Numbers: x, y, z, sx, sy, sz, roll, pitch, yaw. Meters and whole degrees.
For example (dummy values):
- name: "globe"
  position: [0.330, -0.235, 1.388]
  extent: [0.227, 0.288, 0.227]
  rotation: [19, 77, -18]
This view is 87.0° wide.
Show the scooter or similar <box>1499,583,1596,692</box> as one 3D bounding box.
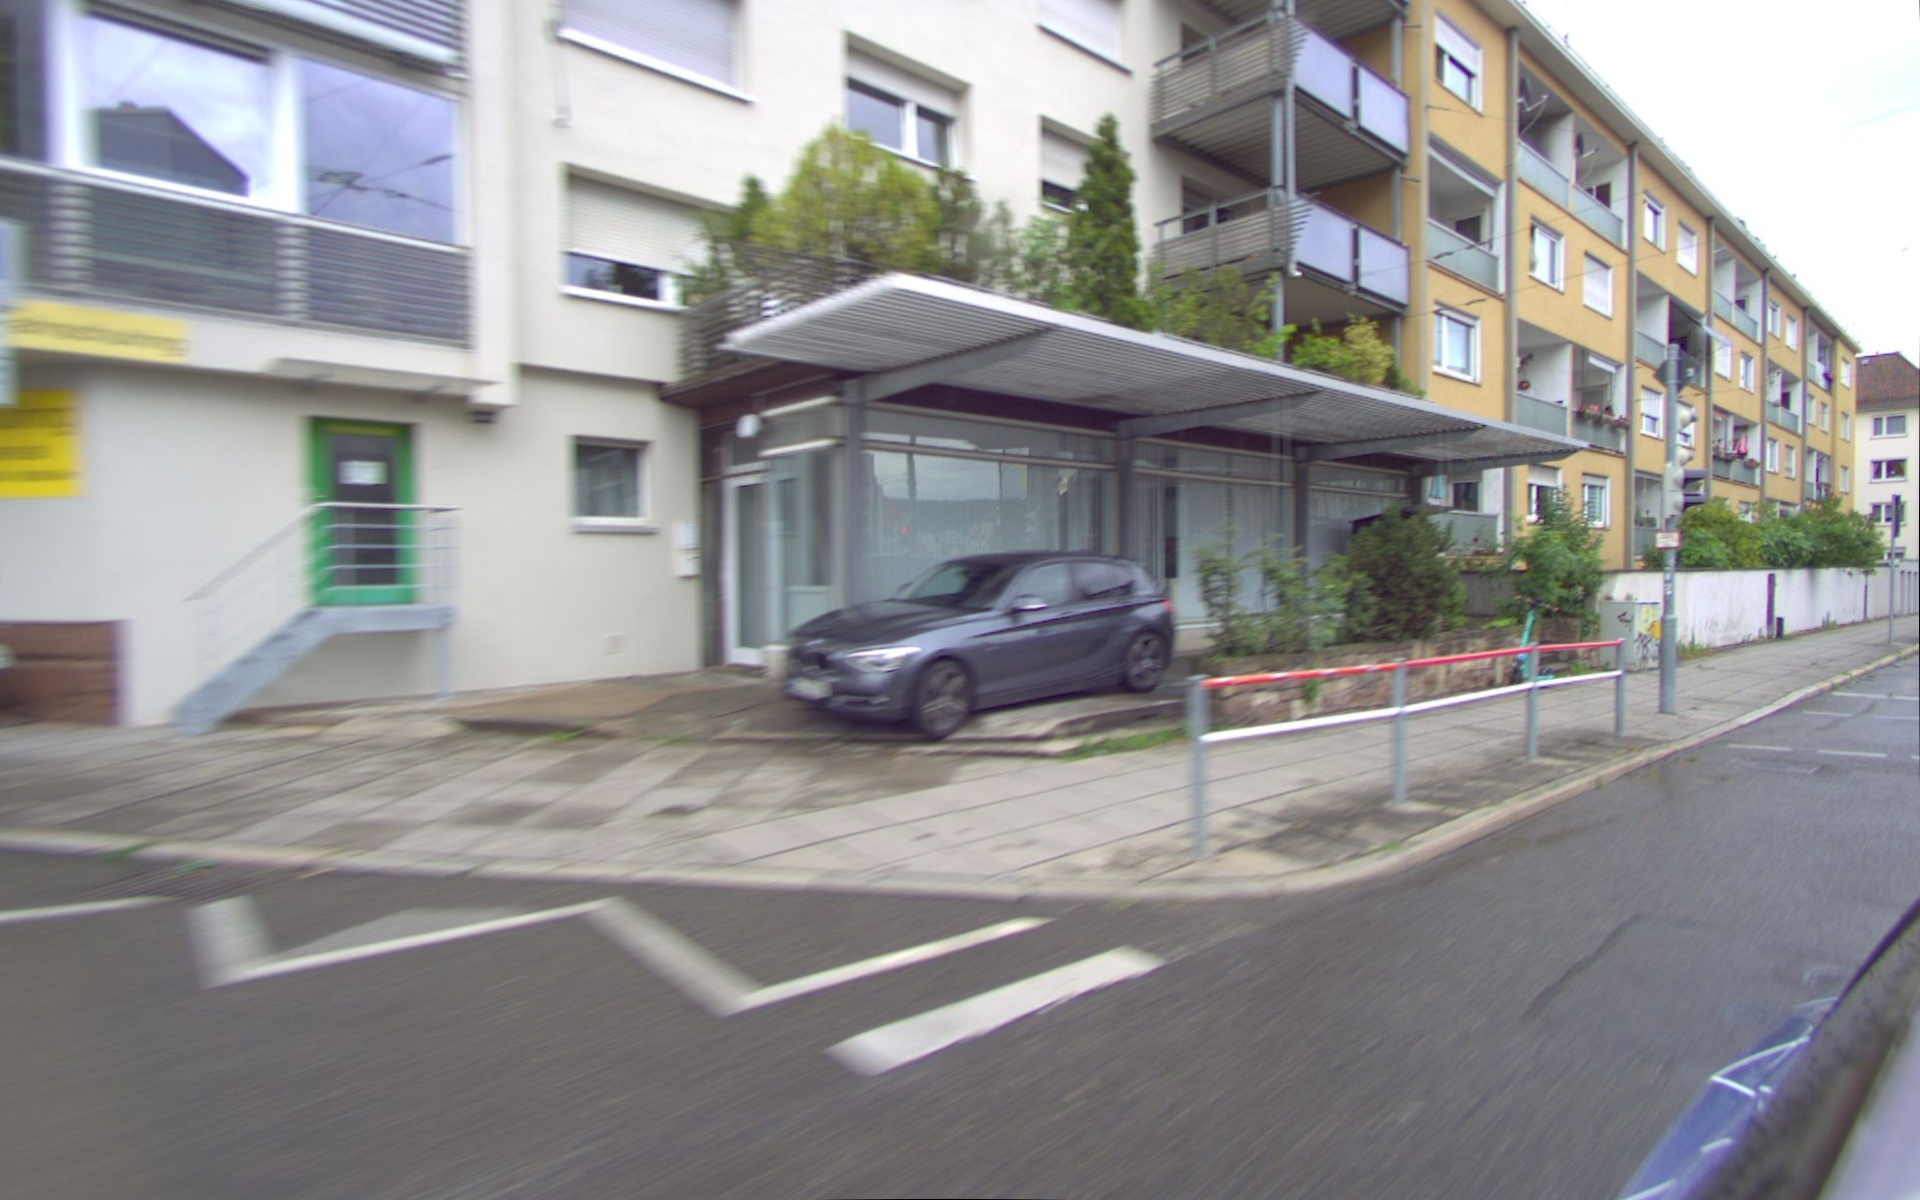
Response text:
- name: "scooter or similar"
  position: [7.964, 0.468, 13.695]
  extent: [1.630, 1.342, 0.536]
  rotation: [-2, 6, -41]

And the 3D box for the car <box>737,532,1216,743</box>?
- name: "car"
  position: [0.321, 0.220, 9.555]
  extent: [4.371, 1.521, 1.857]
  rotation: [0, 4, -41]

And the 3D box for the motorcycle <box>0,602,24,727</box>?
- name: "motorcycle"
  position: [-8.815, 0.474, 8.186]
  extent: [2.176, 0.991, 0.551]
  rotation: [3, 2, 7]
